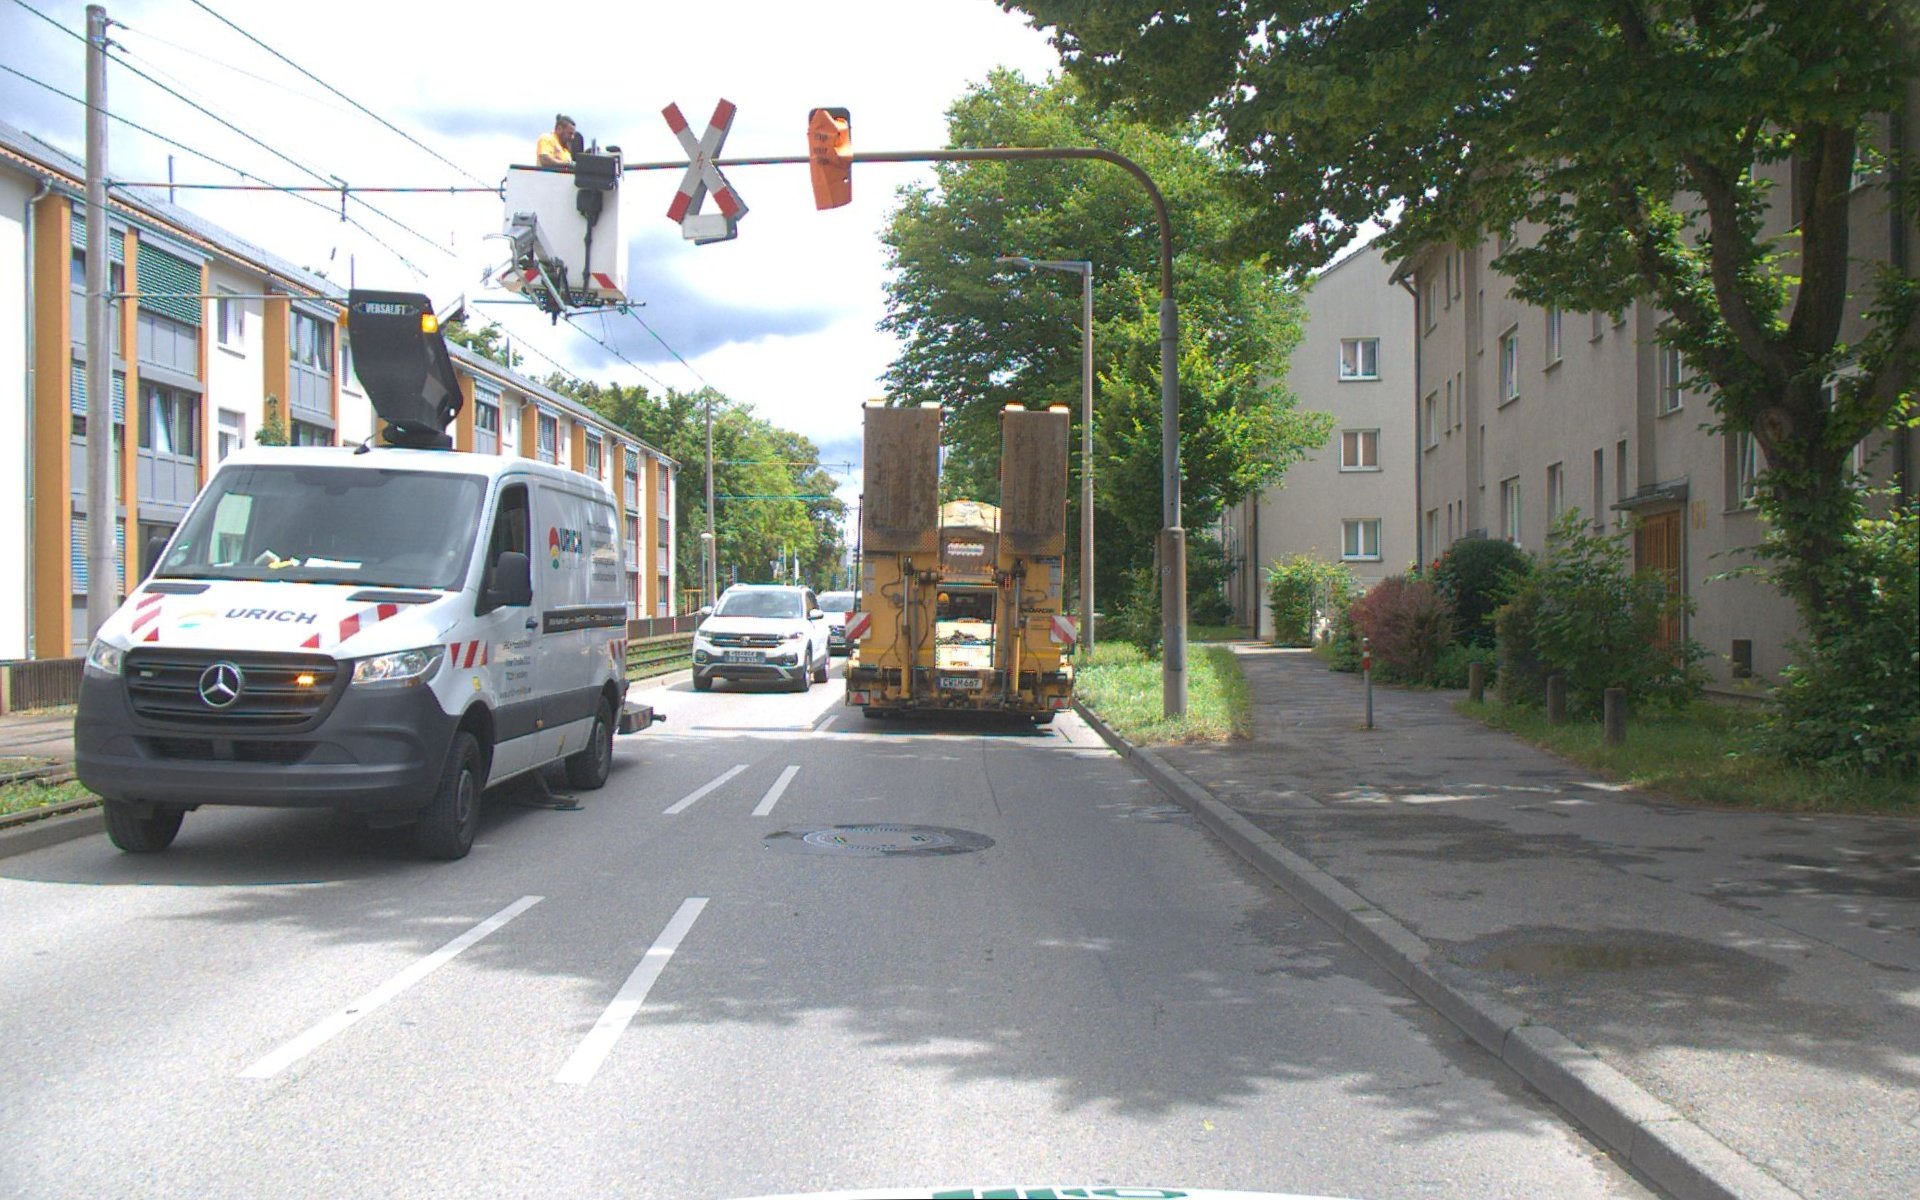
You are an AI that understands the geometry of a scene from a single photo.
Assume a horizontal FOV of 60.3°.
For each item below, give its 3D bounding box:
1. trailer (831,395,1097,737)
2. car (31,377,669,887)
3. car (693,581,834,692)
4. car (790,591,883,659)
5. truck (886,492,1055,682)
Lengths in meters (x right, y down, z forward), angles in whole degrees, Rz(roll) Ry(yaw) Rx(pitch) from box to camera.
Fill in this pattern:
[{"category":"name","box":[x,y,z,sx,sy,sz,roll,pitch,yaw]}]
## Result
[{"category":"trailer","box":[0.104,-0.386,23.167,2.764,3.585,11.052,1,0,1]},{"category":"car","box":[-3.542,0.142,11.258,1.953,2.473,6.322,1,0,0]},{"category":"car","box":[-2.990,0.529,25.862,1.683,1.579,3.917,1,0,0]},{"category":"car","box":[-2.940,0.559,40.264,1.840,1.507,4.529,1,0,1]},{"category":"truck","box":[0.181,-0.245,32.512,2.858,3.222,7.680,1,0,0]}]
